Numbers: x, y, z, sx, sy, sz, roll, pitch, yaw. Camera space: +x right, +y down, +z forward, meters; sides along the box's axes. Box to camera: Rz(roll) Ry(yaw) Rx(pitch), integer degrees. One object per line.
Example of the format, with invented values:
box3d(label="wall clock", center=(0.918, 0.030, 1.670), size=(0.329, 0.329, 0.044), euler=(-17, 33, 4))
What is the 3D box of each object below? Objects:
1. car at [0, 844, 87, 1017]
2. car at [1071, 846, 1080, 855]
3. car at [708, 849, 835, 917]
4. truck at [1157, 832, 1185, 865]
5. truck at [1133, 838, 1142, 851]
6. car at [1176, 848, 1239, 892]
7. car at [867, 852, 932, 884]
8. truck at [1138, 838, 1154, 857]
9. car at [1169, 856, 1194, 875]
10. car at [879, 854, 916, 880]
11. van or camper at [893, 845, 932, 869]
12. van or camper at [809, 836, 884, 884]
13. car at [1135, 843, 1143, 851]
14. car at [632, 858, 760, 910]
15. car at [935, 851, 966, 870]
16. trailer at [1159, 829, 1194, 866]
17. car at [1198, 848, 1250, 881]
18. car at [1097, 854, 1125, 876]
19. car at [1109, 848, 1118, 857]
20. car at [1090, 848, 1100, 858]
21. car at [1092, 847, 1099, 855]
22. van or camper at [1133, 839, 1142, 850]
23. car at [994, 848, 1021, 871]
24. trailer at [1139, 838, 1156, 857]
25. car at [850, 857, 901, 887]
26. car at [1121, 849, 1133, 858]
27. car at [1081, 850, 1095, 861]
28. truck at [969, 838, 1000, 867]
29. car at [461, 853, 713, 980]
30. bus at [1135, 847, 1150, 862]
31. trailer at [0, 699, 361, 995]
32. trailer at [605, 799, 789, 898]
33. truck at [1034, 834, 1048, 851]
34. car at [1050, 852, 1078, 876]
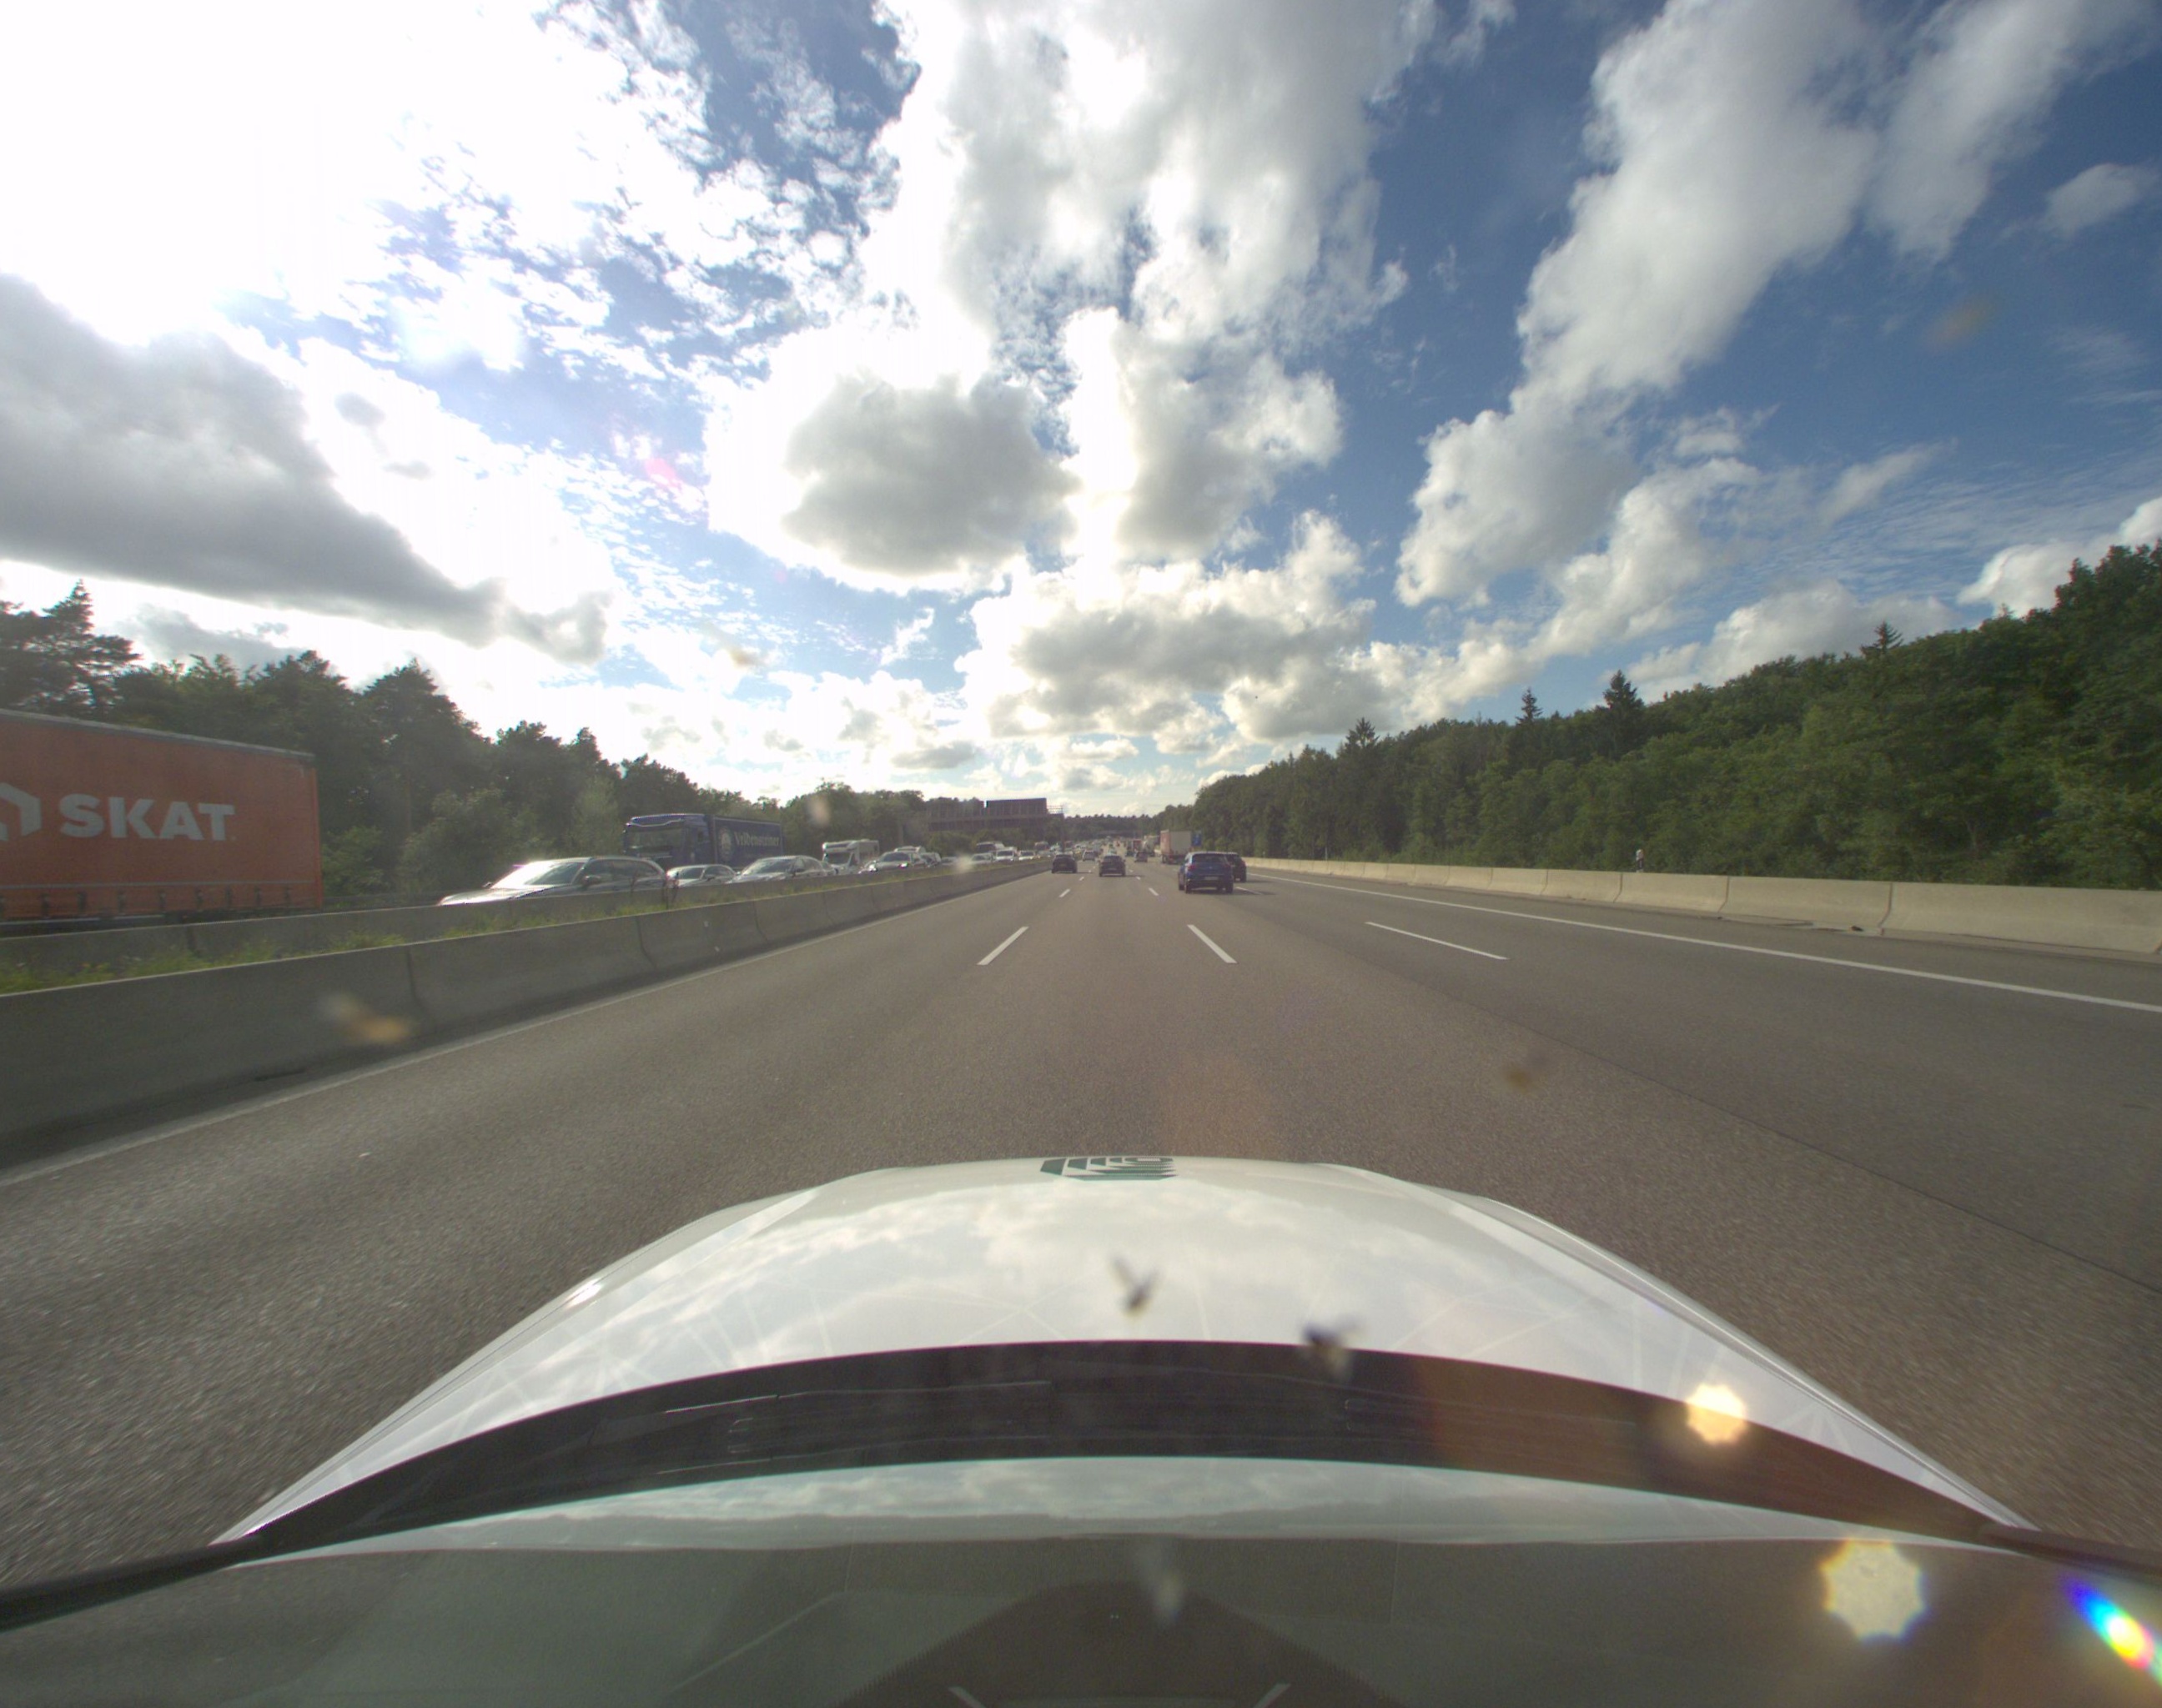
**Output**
box3d(label="car", center=(-13.351, 0.862, 7.565), size=(1.986, 1.960, 4.992), euler=(0, -1, 2))
box3d(label="car", center=(-1.357, -0.895, 210.961), size=(1.986, 2.014, 4.412), euler=(-2, -1, 2))
box3d(label="car", center=(-8.853, 0.753, 23.769), size=(1.810, 1.764, 4.632), euler=(-1, 0, 1))
box3d(label="truck", center=(11.493, -0.707, 104.278), size=(3.069, 4.063, 6.072), euler=(0, -1, 2))
box3d(label="truck", center=(16.165, -2.650, 231.729), size=(2.348, 3.572, 11.275), euler=(0, -1, 3))
box3d(label="car", center=(4.807, 0.618, 31.494), size=(1.916, 1.541, 4.648), euler=(-1, -1, 3))
box3d(label="car", center=(-8.438, 0.620, 38.244), size=(1.825, 1.387, 4.905), euler=(-1, 0, 1))
box3d(label="truck", center=(14.458, -1.479, 181.869), size=(3.034, 4.160, 7.130), euler=(-1, 0, 2))
box3d(label="car", center=(8.320, 0.931, 67.728), size=(1.708, 1.511, 4.304), euler=(-2, 0, 2))
box3d(label="car", center=(-14.645, 1.008, 65.202), size=(1.825, 1.915, 4.483), euler=(-1, 0, 1))
box3d(label="van or camper", center=(-14.734, 0.269, 71.524), size=(2.274, 2.011, 4.691), euler=(0, 0, 2))
box3d(label="van or camper", center=(-15.290, 0.442, 53.746), size=(2.460, 2.890, 7.485), euler=(0, -1, 2))
box3d(label="car", center=(14.786, -1.854, 207.515), size=(1.986, 2.014, 4.001), euler=(0, -1, 2))
box3d(label="car", center=(-12.410, 0.911, 26.637), size=(1.717, 1.482, 4.905), euler=(-1, 0, 1))
box3d(label="car", center=(-10.970, 0.552, 68.744), size=(1.825, 1.537, 4.244), euler=(0, 0, 1))
box3d(label="trailer", center=(11.256, -0.652, 97.409), size=(3.027, 4.035, 13.895), euler=(0, -1, 2))
box3d(label="car", center=(7.358, 0.545, 42.481), size=(1.985, 1.574, 5.281), euler=(0, -1, 2))
box3d(label="car", center=(1.971, 0.710, 54.233), size=(1.729, 1.365, 3.999), euler=(0, 0, 0))
box3d(label="car", center=(7.760, -0.460, 192.624), size=(1.986, 2.014, 4.001), euler=(-2, -1, 2))
box3d(label="car", center=(2.890, -0.278, 168.022), size=(1.986, 2.014, 4.001), euler=(0, -1, 2))
box3d(label="car", center=(3.787, -0.840, 212.438), size=(1.986, 2.014, 4.001), euler=(0, -1, 2))
box3d(label="van or camper", center=(16.594, -2.807, 239.373), size=(2.342, 3.144, 5.715), euler=(0, -1, 3))
box3d(label="car", center=(-6.907, 0.490, 77.059), size=(1.825, 2.062, 5.502), euler=(-2, 0, 1))
box3d(label="trailer", center=(14.245, -1.369, 175.157), size=(3.025, 4.015, 12.249), euler=(-1, 0, 2))
box3d(label="car", center=(-12.283, 1.039, 48.939), size=(1.825, 1.660, 4.273), euler=(-1, 0, 1))
box3d(label="car", center=(9.967, -0.124, 176.296), size=(1.992, 2.013, 3.991), euler=(0, 0, -7))
box3d(label="car", center=(1.172, 0.235, 129.919), size=(2.146, 1.776, 4.002), euler=(0, 0, 2))
box3d(label="truck", center=(-13.650, -0.194, 115.372), size=(3.405, 3.900, 6.803), euler=(-1, 0, 1))
box3d(label="car", center=(-8.942, 1.022, 15.328), size=(1.736, 2.014, 4.685), euler=(0, -1, 2))
box3d(label="bus", center=(8.453, 0.128, 111.867), size=(1.986, 2.014, 4.002), euler=(0, -1, 2))
box3d(label="trailer", center=(-17.083, -0.100, 11.014), size=(2.629, 4.320, 13.182), euler=(0, -1, 2))
box3d(label="trailer", center=(-16.284, -0.218, 35.738), size=(2.877, 3.658, 10.224), euler=(-1, 0, 2))
box3d(label="truck", center=(-9.858, -2.883, 202.168), size=(2.842, 4.234, 5.716), euler=(0, 0, 2))
box3d(label="car", center=(-1.300, 0.746, 64.337), size=(1.986, 1.776, 4.002), euler=(-1, 0, 2))
